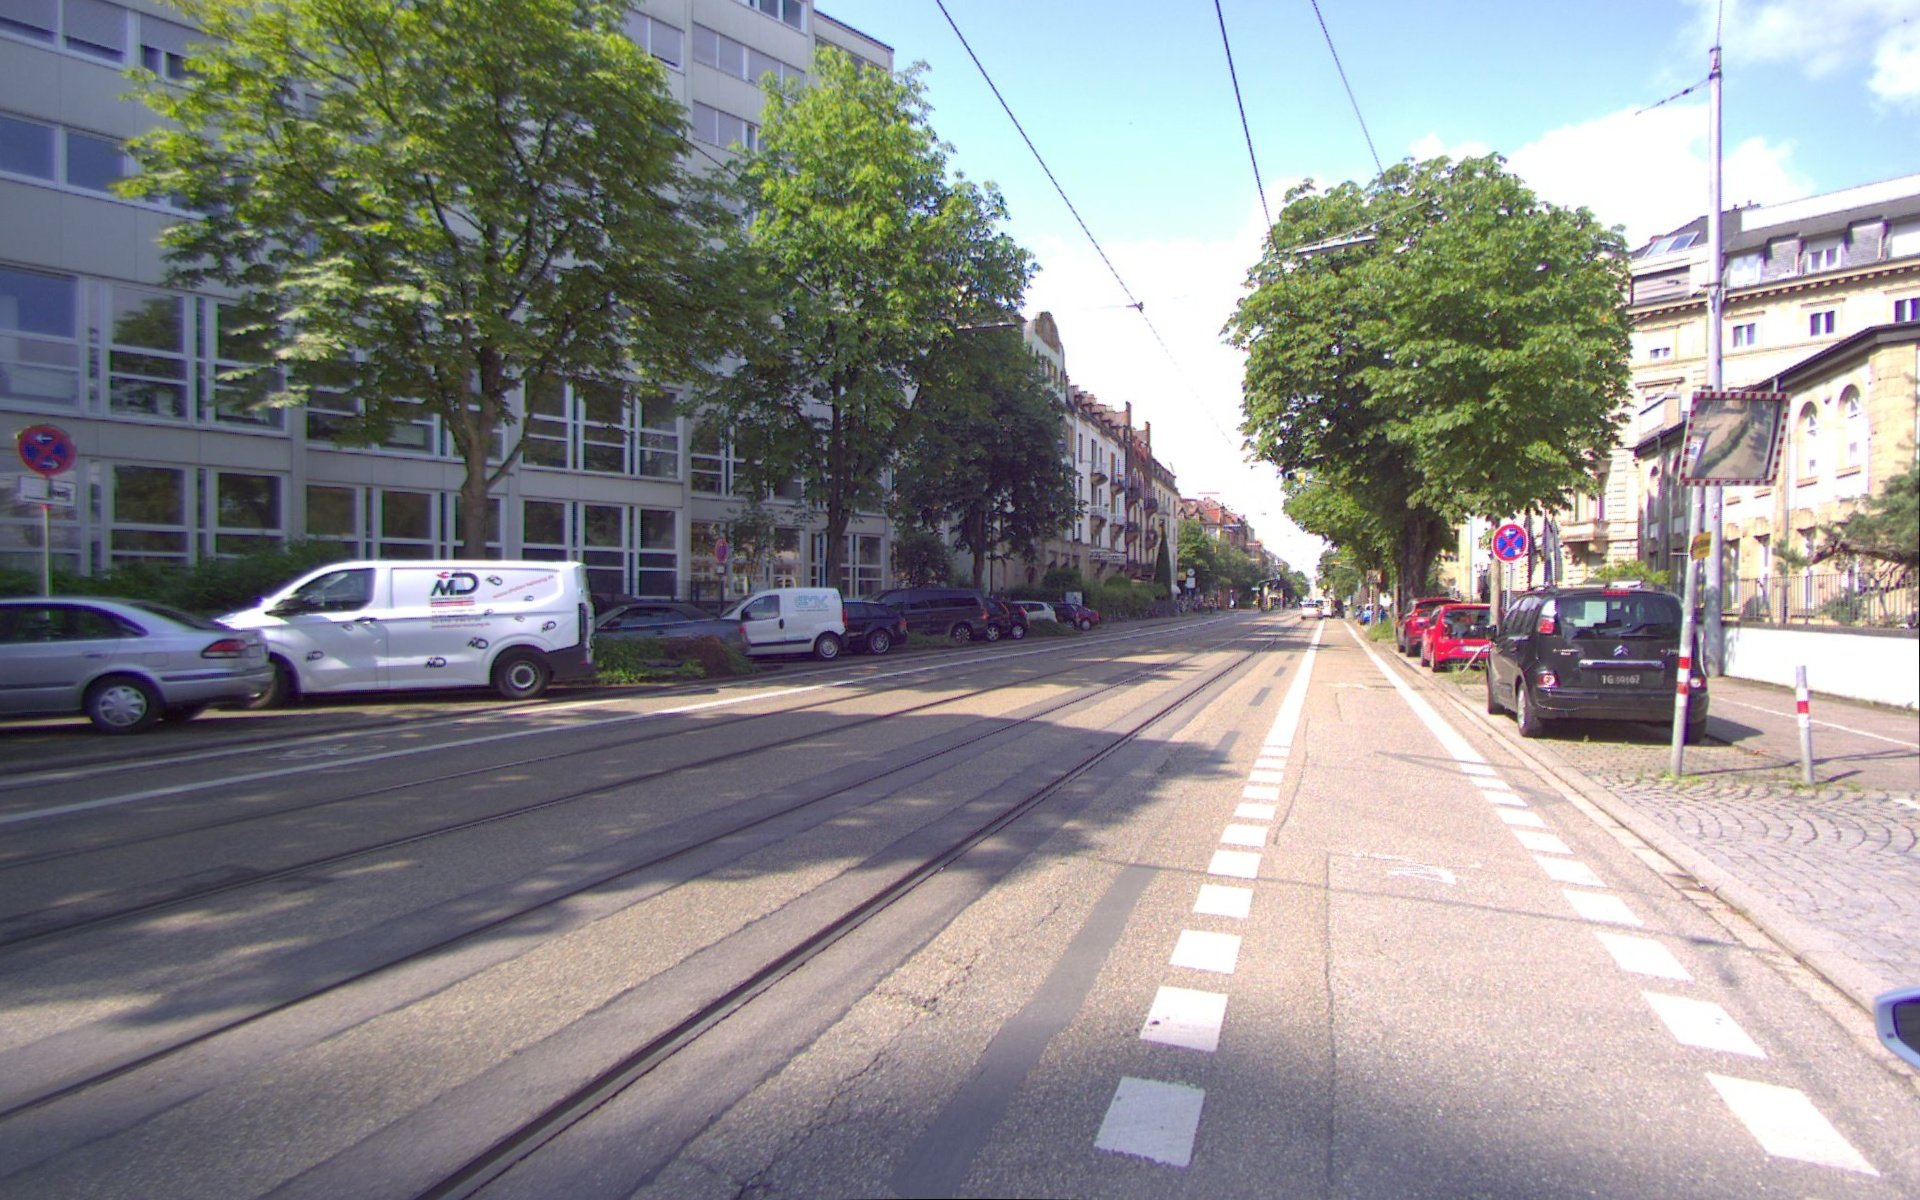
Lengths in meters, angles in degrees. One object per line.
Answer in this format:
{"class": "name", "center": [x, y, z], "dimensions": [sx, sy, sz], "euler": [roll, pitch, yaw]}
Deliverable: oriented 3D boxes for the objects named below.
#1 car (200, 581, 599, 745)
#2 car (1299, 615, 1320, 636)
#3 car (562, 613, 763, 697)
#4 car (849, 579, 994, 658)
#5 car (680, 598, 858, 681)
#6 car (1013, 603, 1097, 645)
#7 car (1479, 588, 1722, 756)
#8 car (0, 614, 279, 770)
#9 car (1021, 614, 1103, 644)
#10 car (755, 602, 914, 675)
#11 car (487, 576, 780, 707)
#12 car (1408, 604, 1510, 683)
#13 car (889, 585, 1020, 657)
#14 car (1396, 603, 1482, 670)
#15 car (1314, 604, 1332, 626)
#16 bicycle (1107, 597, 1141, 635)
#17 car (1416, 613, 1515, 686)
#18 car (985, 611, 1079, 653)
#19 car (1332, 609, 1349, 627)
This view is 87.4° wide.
{"class": "car", "center": [-7.541, 0.758, 14.123], "dimensions": [4.572, 1.938, 1.923], "euler": [-2, 1, -21]}
{"class": "car", "center": [30.489, 2.237, 87.555], "dimensions": [1.594, 1.706, 3.564], "euler": [3, 0, 20]}
{"class": "car", "center": [-6.006, 1.100, 20.298], "dimensions": [3.591, 1.520, 1.750], "euler": [2, -1, -28]}
{"class": "car", "center": [-1.235, 0.611, 32.532], "dimensions": [4.150, 2.108, 1.871], "euler": [5, 1, -25]}
{"class": "car", "center": [-4.459, 0.924, 23.451], "dimensions": [3.708, 1.735, 1.871], "euler": [2, 0, -25]}
{"class": "car", "center": [4.536, 1.146, 48.099], "dimensions": [3.550, 1.598, 1.626], "euler": [5, 1, -19]}
{"class": "car", "center": [7.236, 0.697, 11.725], "dimensions": [1.646, 1.633, 3.584], "euler": [-1, 0, 20]}
{"class": "car", "center": [-9.733, 0.934, 10.747], "dimensions": [3.729, 1.495, 1.716], "euler": [-1, 0, -23]}
{"class": "car", "center": [5.146, 1.457, 50.719], "dimensions": [3.727, 1.324, 1.631], "euler": [3, 0, -18]}
{"class": "car", "center": [-3.313, 1.007, 26.461], "dimensions": [3.708, 1.735, 1.871], "euler": [2, 0, -25]}
{"class": "car", "center": [-5.509, 0.653, 17.197], "dimensions": [4.505, 2.024, 1.894], "euler": [1, 1, -21]}
{"class": "car", "center": [11.166, 0.925, 22.676], "dimensions": [1.646, 1.633, 3.584], "euler": [-1, -1, 20]}
{"class": "car", "center": [-0.219, 0.736, 35.706], "dimensions": [4.141, 2.108, 1.875], "euler": [5, 1, -19]}
{"class": "car", "center": [13.865, 1.015, 29.262], "dimensions": [1.928, 1.728, 3.999], "euler": [3, 0, 22]}
{"class": "car", "center": [36.552, 1.513, 101.028], "dimensions": [1.594, 2.027, 3.564], "euler": [3, 0, 20]}
{"class": "bicycle", "center": [10.522, 1.031, 64.258], "dimensions": [0.924, 2.350, 3.996], "euler": [3, 0, 26]}
{"class": "car", "center": [11.325, 1.045, 22.664], "dimensions": [1.640, 1.506, 3.279], "euler": [0, 0, 21]}
{"class": "car", "center": [3.011, 1.309, 42.127], "dimensions": [3.548, 1.599, 1.627], "euler": [-1, 0, -19]}
{"class": "car", "center": [41.131, 1.920, 108.659], "dimensions": [1.594, 1.873, 3.564], "euler": [3, 0, 20]}
